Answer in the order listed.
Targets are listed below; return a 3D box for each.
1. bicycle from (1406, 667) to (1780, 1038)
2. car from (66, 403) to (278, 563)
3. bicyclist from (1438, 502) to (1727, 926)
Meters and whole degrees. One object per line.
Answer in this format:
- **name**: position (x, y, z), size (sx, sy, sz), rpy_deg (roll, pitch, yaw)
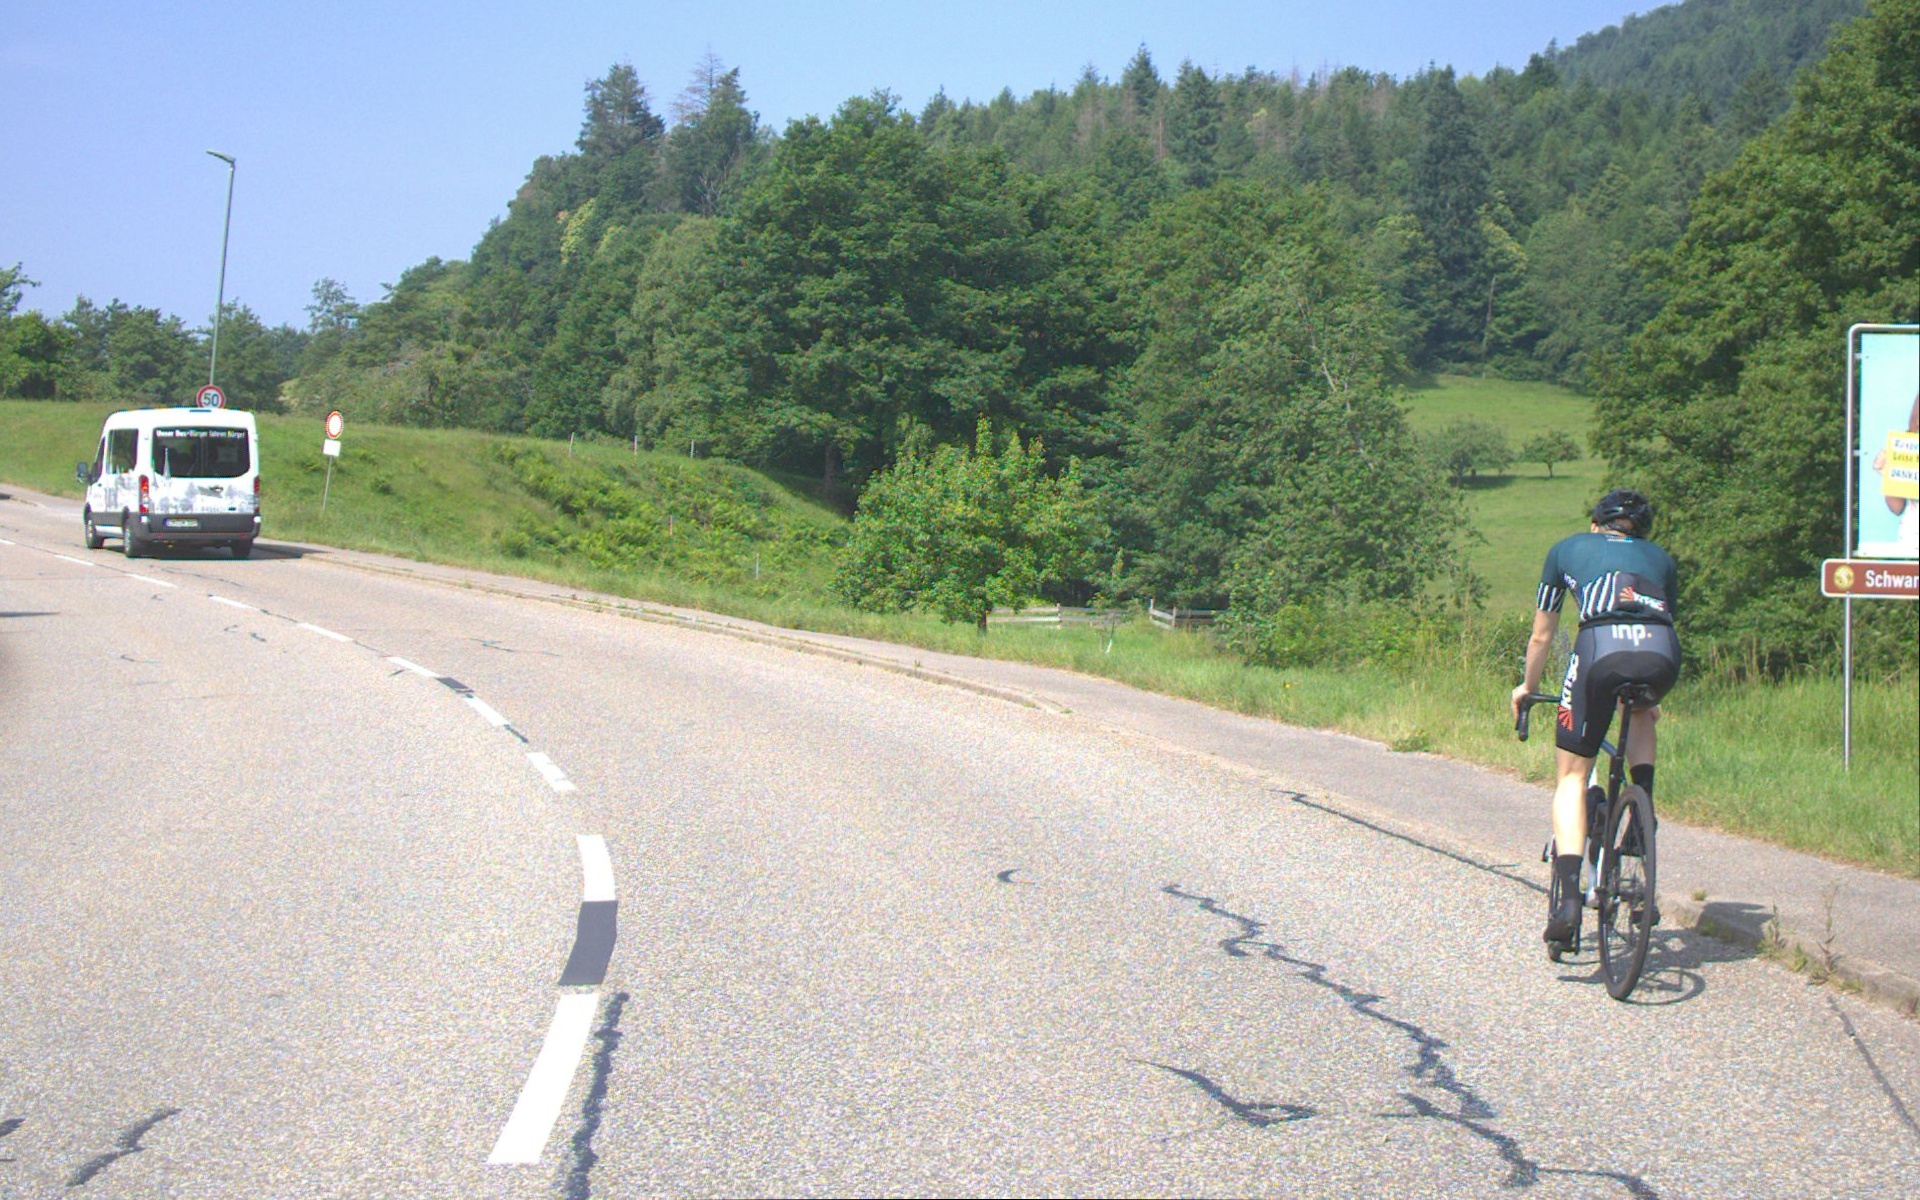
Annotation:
- **bicycle**: position (2.086, 0.797, 11.607), size (0.579, 1.031, 1.991), rpy_deg (-2, 2, -9)
- **car**: position (-13.204, -1.963, 57.384), size (2.222, 2.516, 4.985), rpy_deg (-2, 3, -27)
- **bicyclist**: position (2.077, 0.349, 11.594), size (0.579, 1.338, 1.145), rpy_deg (-2, 2, -9)
